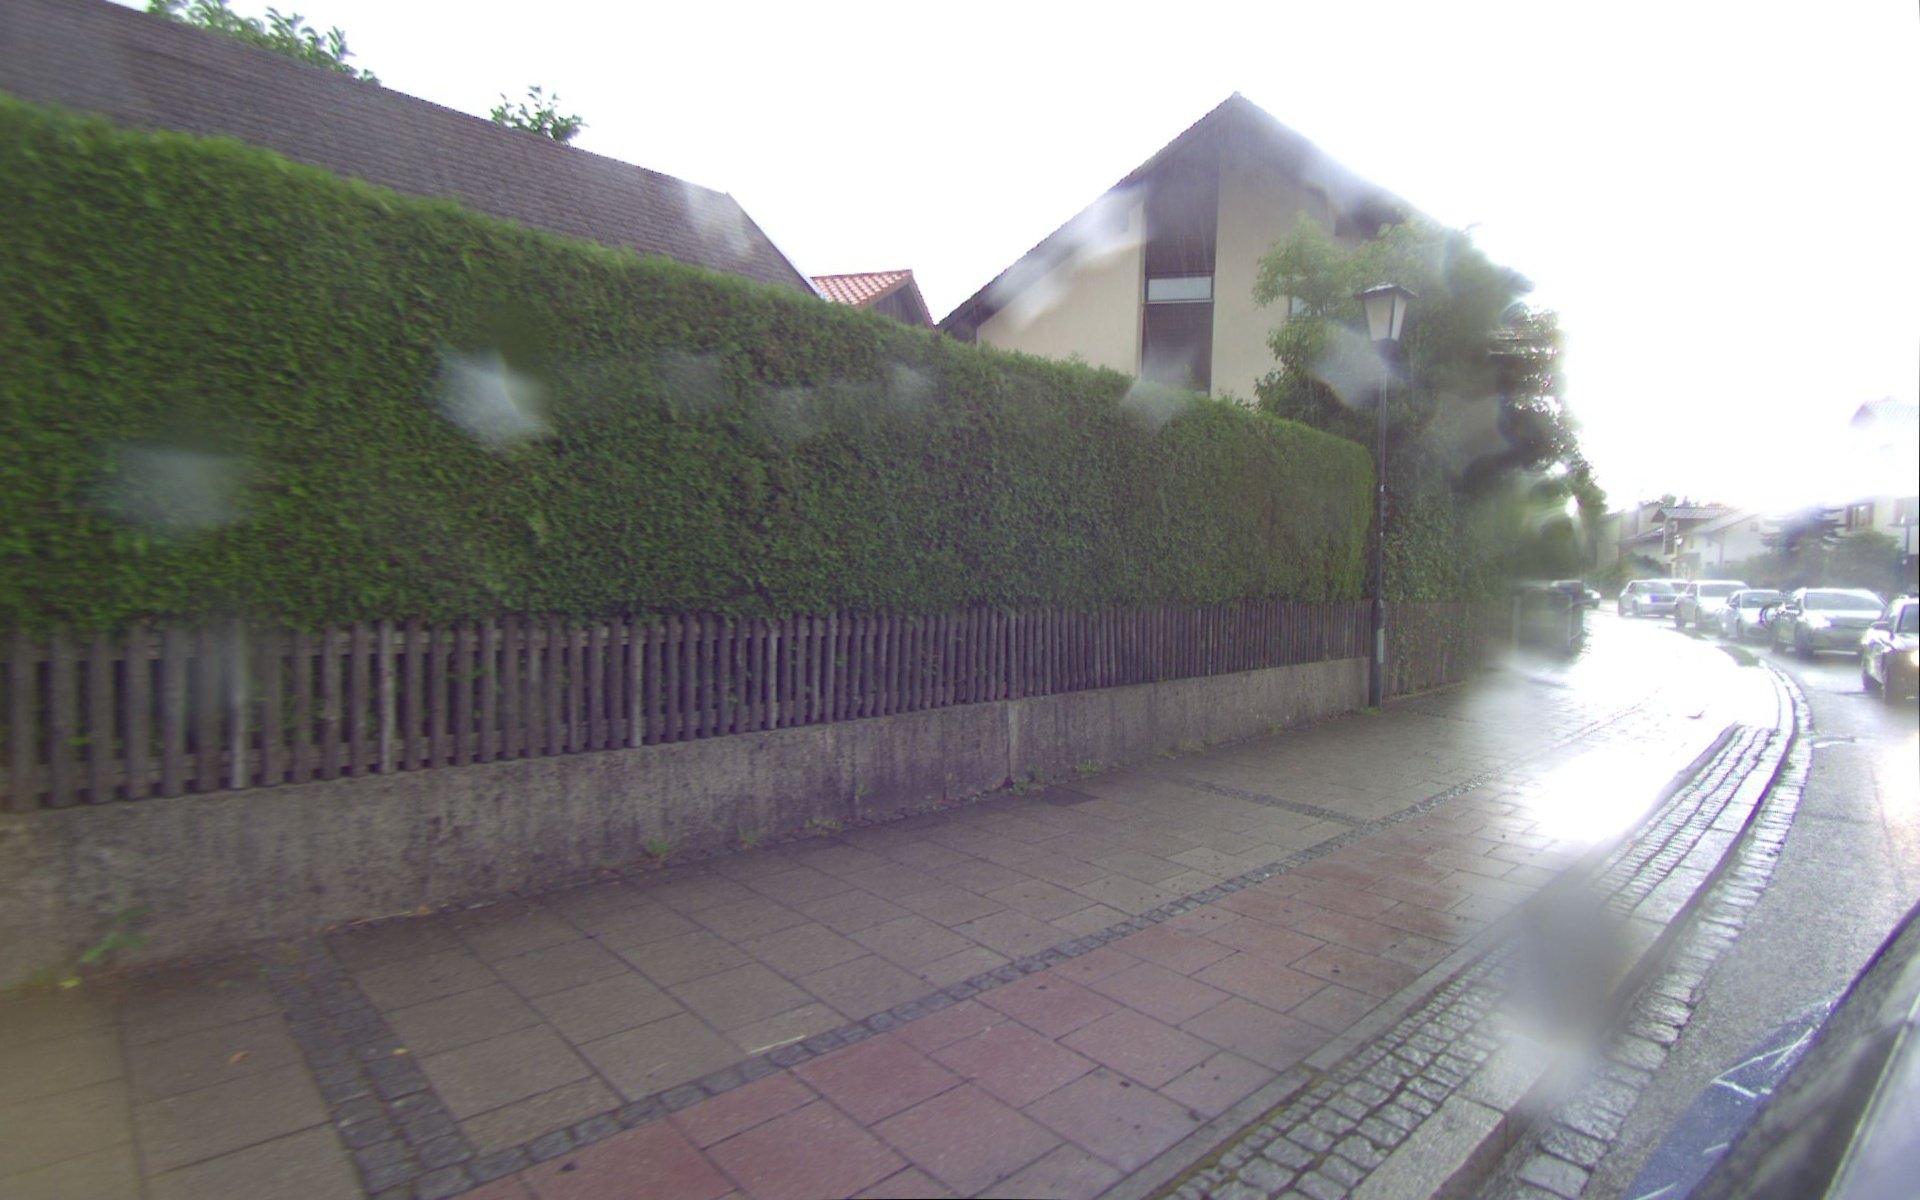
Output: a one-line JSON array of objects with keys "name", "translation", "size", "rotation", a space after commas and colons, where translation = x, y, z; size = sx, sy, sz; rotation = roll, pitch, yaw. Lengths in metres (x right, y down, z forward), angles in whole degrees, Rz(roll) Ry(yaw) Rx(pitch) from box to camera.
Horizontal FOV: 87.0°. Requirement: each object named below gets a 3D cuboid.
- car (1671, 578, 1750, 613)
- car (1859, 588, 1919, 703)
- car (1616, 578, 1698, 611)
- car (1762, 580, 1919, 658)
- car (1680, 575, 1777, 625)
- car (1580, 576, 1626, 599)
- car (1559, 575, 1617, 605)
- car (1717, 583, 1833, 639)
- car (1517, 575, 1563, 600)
[{"name": "car", "translation": [36.331, -0.218, 49.102], "size": [1.975, 1.615, 4.163], "rotation": [0, 1, 20]}, {"name": "car", "translation": [13.946, 0.560, 14.021], "size": [1.784, 1.412, 4.226], "rotation": [0, 1, 36]}, {"name": "car", "translation": [30.155, -0.260, 43.910], "size": [1.771, 1.390, 4.257], "rotation": [0, 1, 18]}, {"name": "car", "translation": [19.507, 0.326, 22.498], "size": [1.779, 1.497, 5.330], "rotation": [0, 1, 29]}, {"name": "car", "translation": [25.415, -0.043, 33.619], "size": [1.777, 1.568, 4.242], "rotation": [0, 1, 27]}, {"name": "car", "translation": [44.271, -0.886, 69.764], "size": [1.772, 1.568, 4.254], "rotation": [0, 1, 20]}, {"name": "car", "translation": [34.727, -0.565, 56.088], "size": [1.771, 1.568, 4.257], "rotation": [0, 1, 18]}, {"name": "car", "translation": [22.397, 0.244, 27.973], "size": [1.779, 1.412, 4.237], "rotation": [0, 1, 29]}, {"name": "car", "translation": [38.729, -0.858, 67.628], "size": [1.771, 1.568, 4.257], "rotation": [0, 1, 18]}]
